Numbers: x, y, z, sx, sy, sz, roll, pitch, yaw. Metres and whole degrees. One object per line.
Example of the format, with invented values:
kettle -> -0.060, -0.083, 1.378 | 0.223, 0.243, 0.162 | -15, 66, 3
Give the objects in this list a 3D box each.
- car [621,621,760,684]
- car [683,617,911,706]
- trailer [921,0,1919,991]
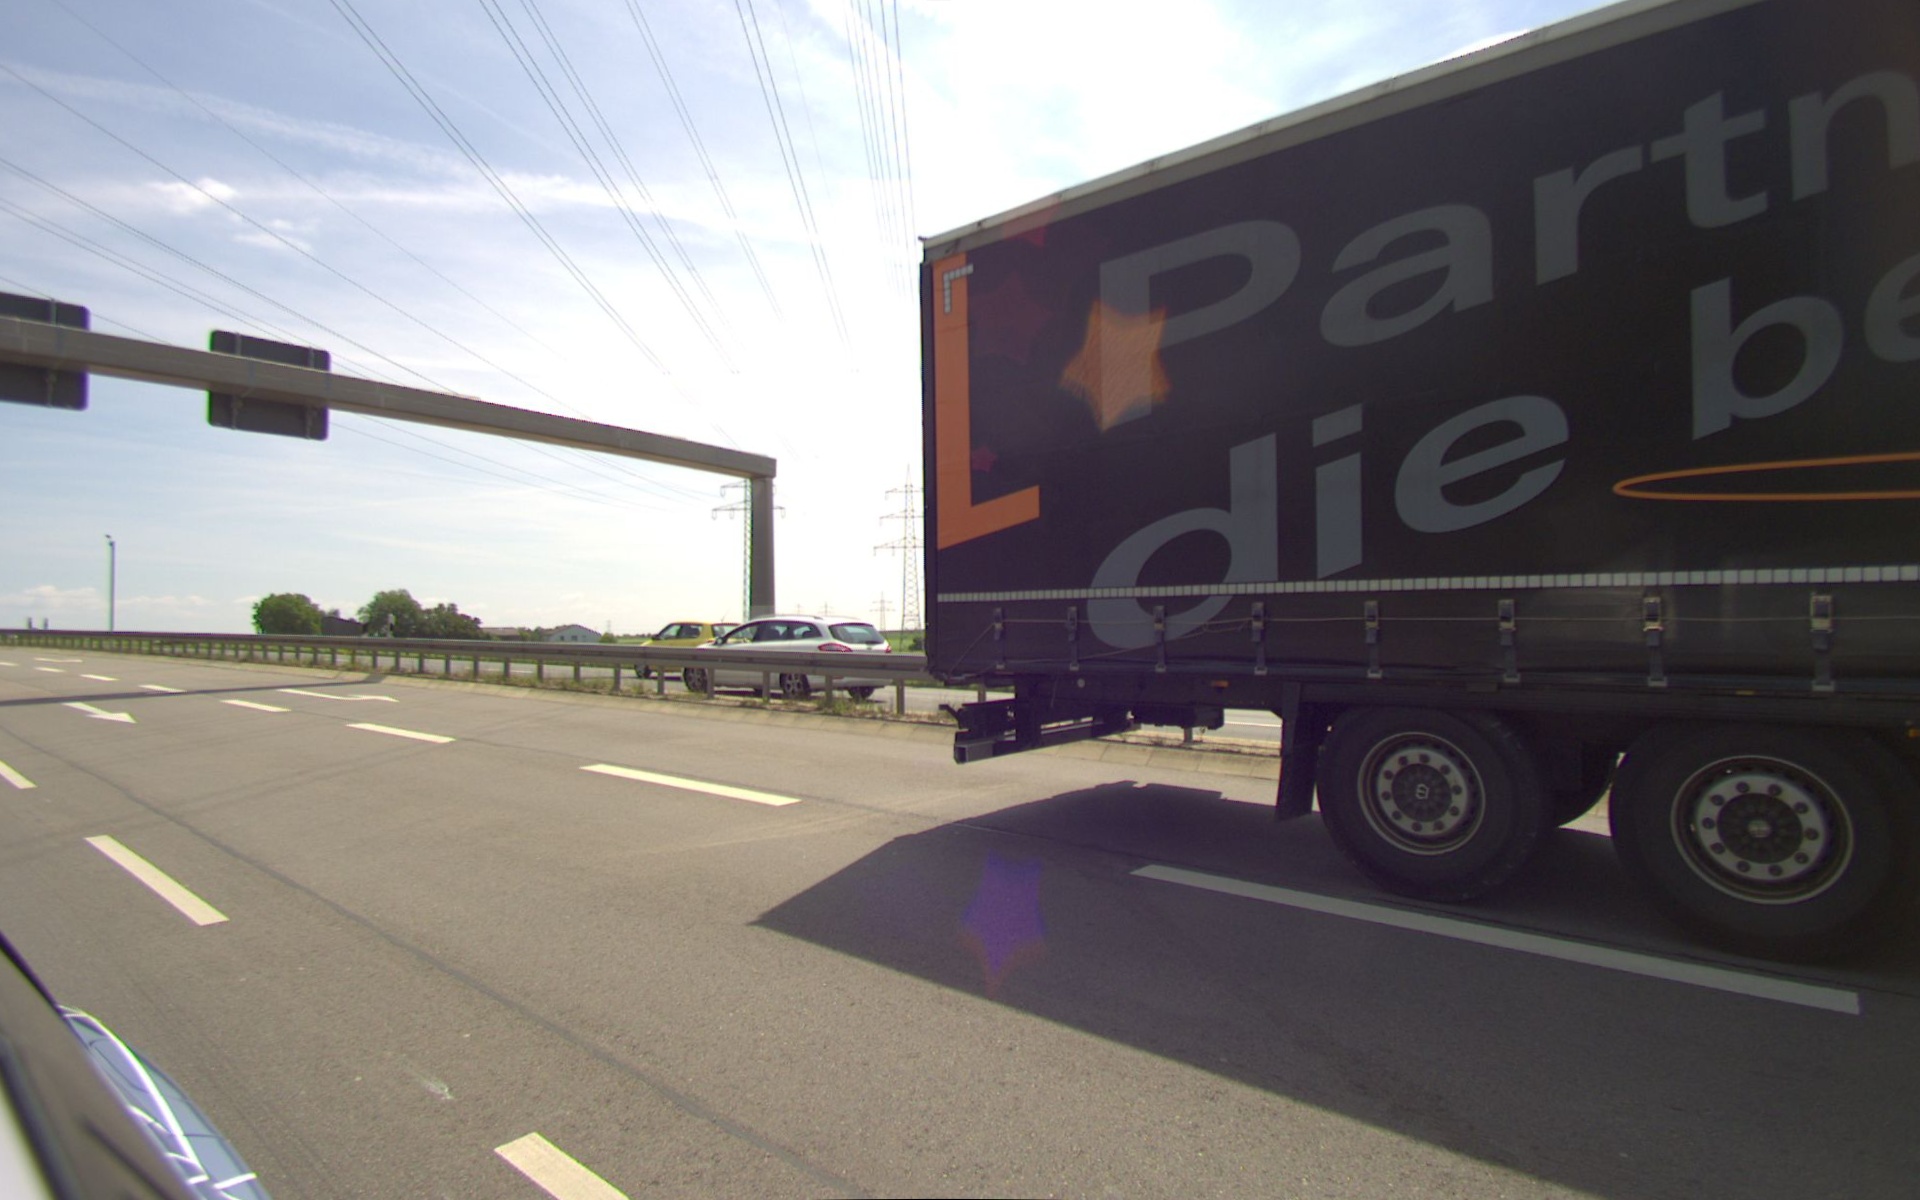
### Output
car -> -6.863, 1.307, 25.588 | 3.700, 1.492, 1.498 | -1, -4, 39
car -> -3.078, 1.071, 18.641 | 4.320, 1.454, 1.718 | -1, -3, 39
trailer -> 5.850, -0.619, 3.284 | 13.779, 3.943, 2.754 | -1, -1, 41
